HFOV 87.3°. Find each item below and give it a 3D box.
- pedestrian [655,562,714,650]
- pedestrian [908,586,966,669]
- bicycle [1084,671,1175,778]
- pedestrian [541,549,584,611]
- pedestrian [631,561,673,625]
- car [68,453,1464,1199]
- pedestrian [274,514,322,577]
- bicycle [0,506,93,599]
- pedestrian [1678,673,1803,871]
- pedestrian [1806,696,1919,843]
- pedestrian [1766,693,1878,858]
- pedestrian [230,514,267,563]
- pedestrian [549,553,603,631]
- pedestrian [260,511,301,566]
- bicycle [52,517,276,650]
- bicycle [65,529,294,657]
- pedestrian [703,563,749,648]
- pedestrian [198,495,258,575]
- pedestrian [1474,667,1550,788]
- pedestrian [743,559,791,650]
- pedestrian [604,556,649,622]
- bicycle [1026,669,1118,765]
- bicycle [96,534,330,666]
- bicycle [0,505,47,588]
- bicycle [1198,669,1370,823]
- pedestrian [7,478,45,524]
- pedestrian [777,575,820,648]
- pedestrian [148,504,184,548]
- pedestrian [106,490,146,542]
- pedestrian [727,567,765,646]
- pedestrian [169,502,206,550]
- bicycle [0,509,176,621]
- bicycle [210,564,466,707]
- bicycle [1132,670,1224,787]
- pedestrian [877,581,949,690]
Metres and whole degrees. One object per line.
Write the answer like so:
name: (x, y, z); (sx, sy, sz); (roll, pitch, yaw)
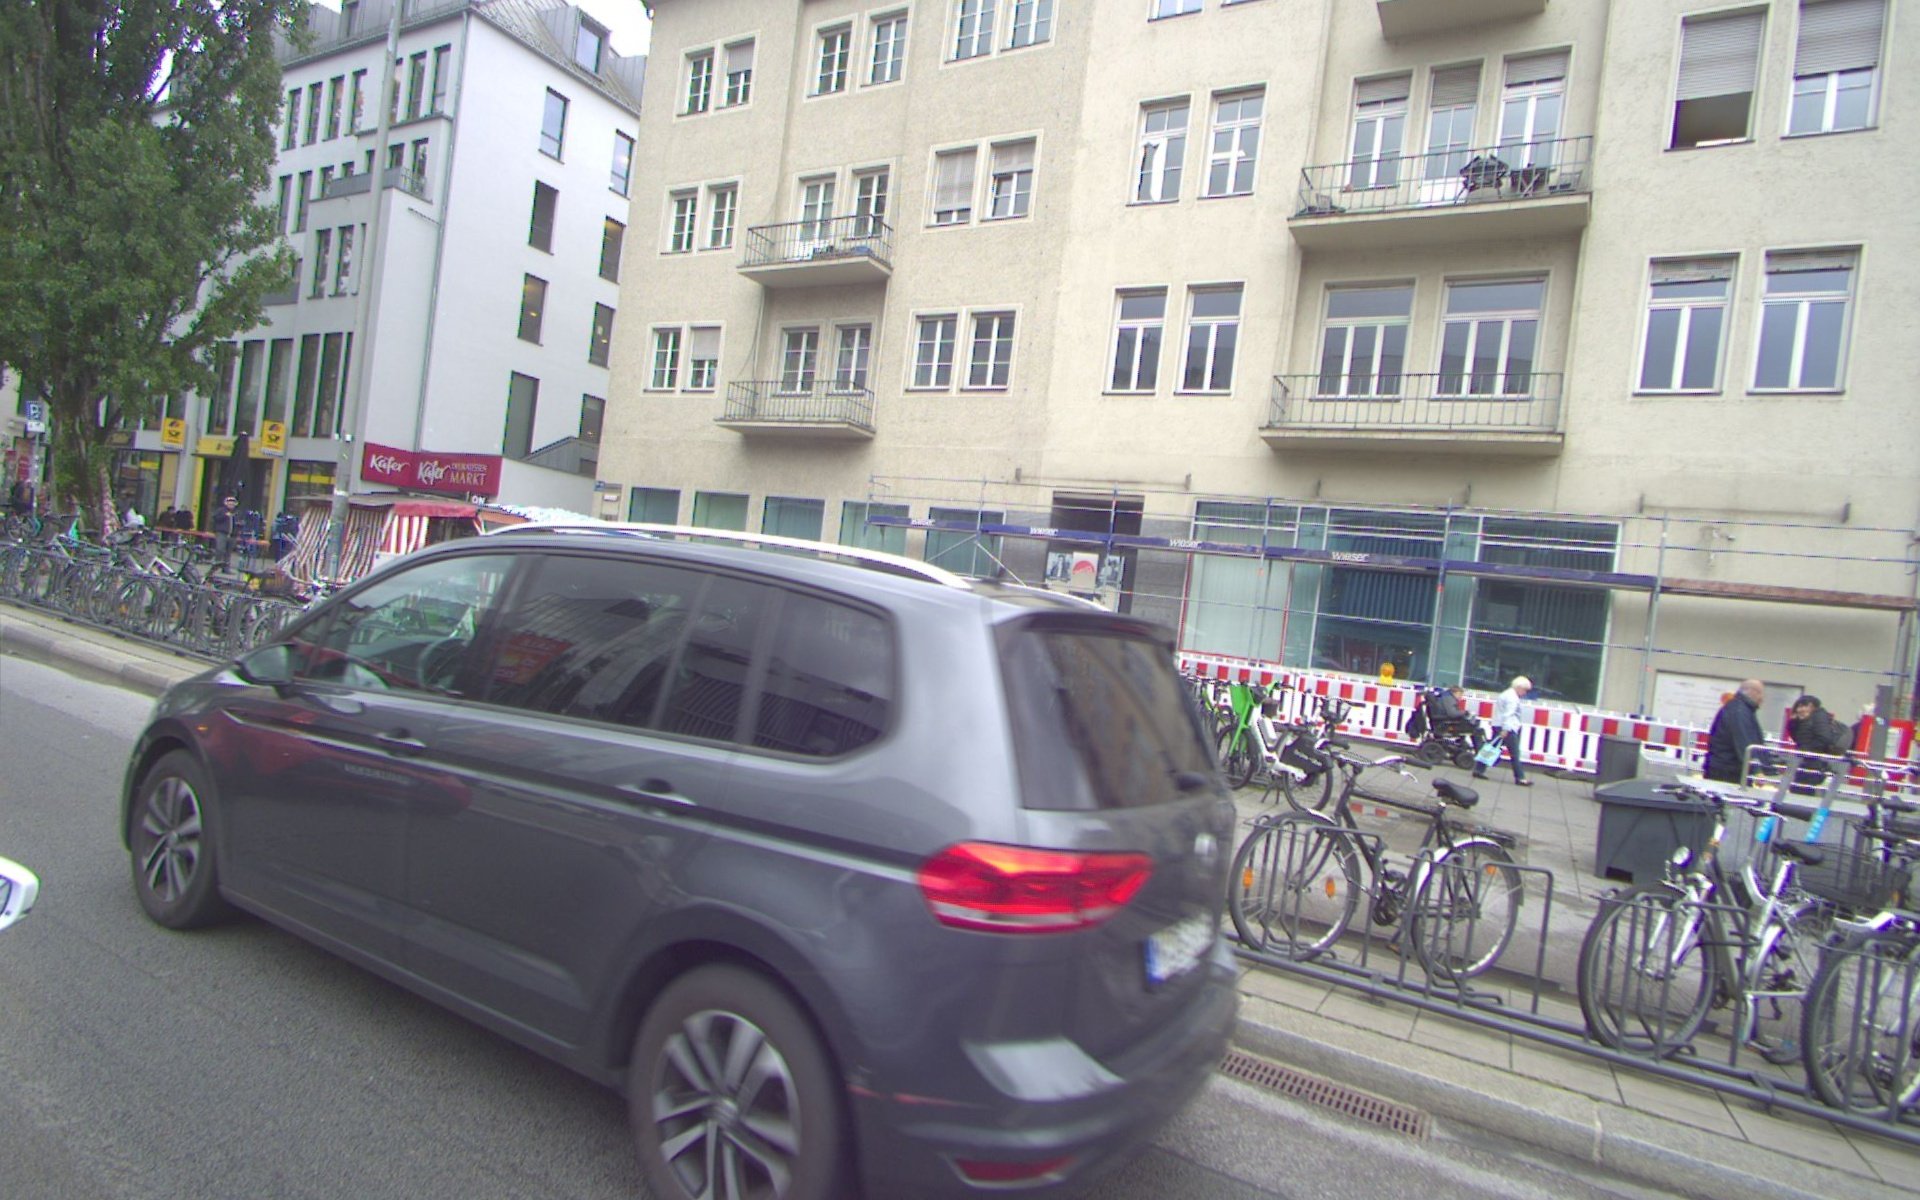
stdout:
pedestrian: (-5.260, 0.109, 19.189); (0.801, 1.541, 0.795); (7, 1, -26)
pedestrian: (-0.472, 0.568, 20.630); (0.774, 1.588, 0.649); (7, 1, 32)
bicycle: (1.805, 1.277, 10.572); (0.363, 1.012, 1.316); (8, 0, 32)
pedestrian: (-9.649, -0.487, 24.420); (0.570, 1.420, 0.599); (7, 1, 31)
pedestrian: (-7.238, -0.167, 23.632); (0.570, 1.420, 0.575); (7, 1, 31)
car: (-0.963, 0.570, 3.511); (4.628, 1.667, 1.774); (7, 0, 30)
pedestrian: (-18.640, -1.530, 28.332); (0.729, 1.622, 0.733); (7, 1, 31)
bicycle: (-13.290, -0.711, 13.895); (1.814, 1.150, 0.583); (7, 0, -24)
pedestrian: (7.627, 1.637, 9.872); (0.746, 1.750, 0.812); (8, 2, 36)
pedestrian: (11.388, 2.109, 12.719); (0.745, 1.672, 0.751); (8, 2, 29)
pedestrian: (9.745, 1.956, 11.406); (0.710, 1.692, 0.657); (8, 2, 34)
pedestrian: (-24.845, -2.138, 35.127); (0.665, 1.578, 0.714); (7, 1, 31)
pedestrian: (-7.653, -0.157, 20.059); (0.648, 1.443, 0.616); (8, 1, 36)
pedestrian: (-21.798, -1.967, 32.272); (0.729, 1.622, 0.733); (7, 1, 31)
bicycle: (-9.041, -0.176, 11.499); (1.810, 1.256, 0.584); (7, 1, -17)
bicycle: (-8.536, -0.064, 11.083); (1.810, 1.150, 0.584); (7, 1, -17)
pedestrian: (-4.456, 0.095, 19.151); (0.574, 1.524, 0.612); (6, 1, -28)
pedestrian: (-17.320, -1.526, 23.807); (0.751, 1.749, 0.791); (7, 1, 31)
pedestrian: (7.750, 1.767, 14.140); (0.745, 1.537, 0.778); (8, 2, 29)
pedestrian: (-3.751, 0.079, 19.531); (0.594, 1.690, 0.681); (6, 1, -24)
pedestrian: (-7.627, -0.245, 23.009); (0.570, 1.420, 0.599); (7, 1, 31)
bicycle: (1.229, 1.243, 10.867); (0.363, 0.926, 1.294); (8, 0, 32)
bicycle: (-7.889, 0.009, 10.712); (1.810, 1.150, 0.584); (7, 1, -17)
bicycle: (-14.561, -0.872, 14.564); (1.814, 1.150, 0.583); (7, 0, -24)
bicycle: (3.053, 1.354, 9.668); (0.365, 1.156, 1.712); (6, 1, -26)
pedestrian: (-35.070, -3.712, 37.769); (0.665, 1.613, 0.765); (7, 1, 31)
pedestrian: (-3.846, 0.276, 23.983); (0.553, 1.665, 0.641); (8, 1, 31)
pedestrian: (-26.247, -2.433, 33.244); (0.665, 1.322, 0.639); (7, 1, 31)
pedestrian: (-27.382, -2.742, 33.029); (0.665, 1.578, 0.714); (7, 1, 31)
pedestrian: (-4.300, 0.126, 20.197); (0.501, 1.502, 0.462); (6, 1, -24)
pedestrian: (-27.364, -2.627, 35.623); (0.665, 1.578, 0.714); (7, 1, 31)
bicycle: (-11.010, -0.429, 12.508); (1.814, 1.150, 0.583); (7, 0, -24)
bicycle: (-5.653, 0.326, 9.255); (1.810, 1.065, 0.584); (7, 1, -17)
bicycle: (2.274, 1.294, 10.387); (0.363, 1.090, 1.419); (8, 0, 32)
pedestrian: (-0.792, 0.601, 17.079); (0.745, 1.750, 0.743); (8, 2, 31)
